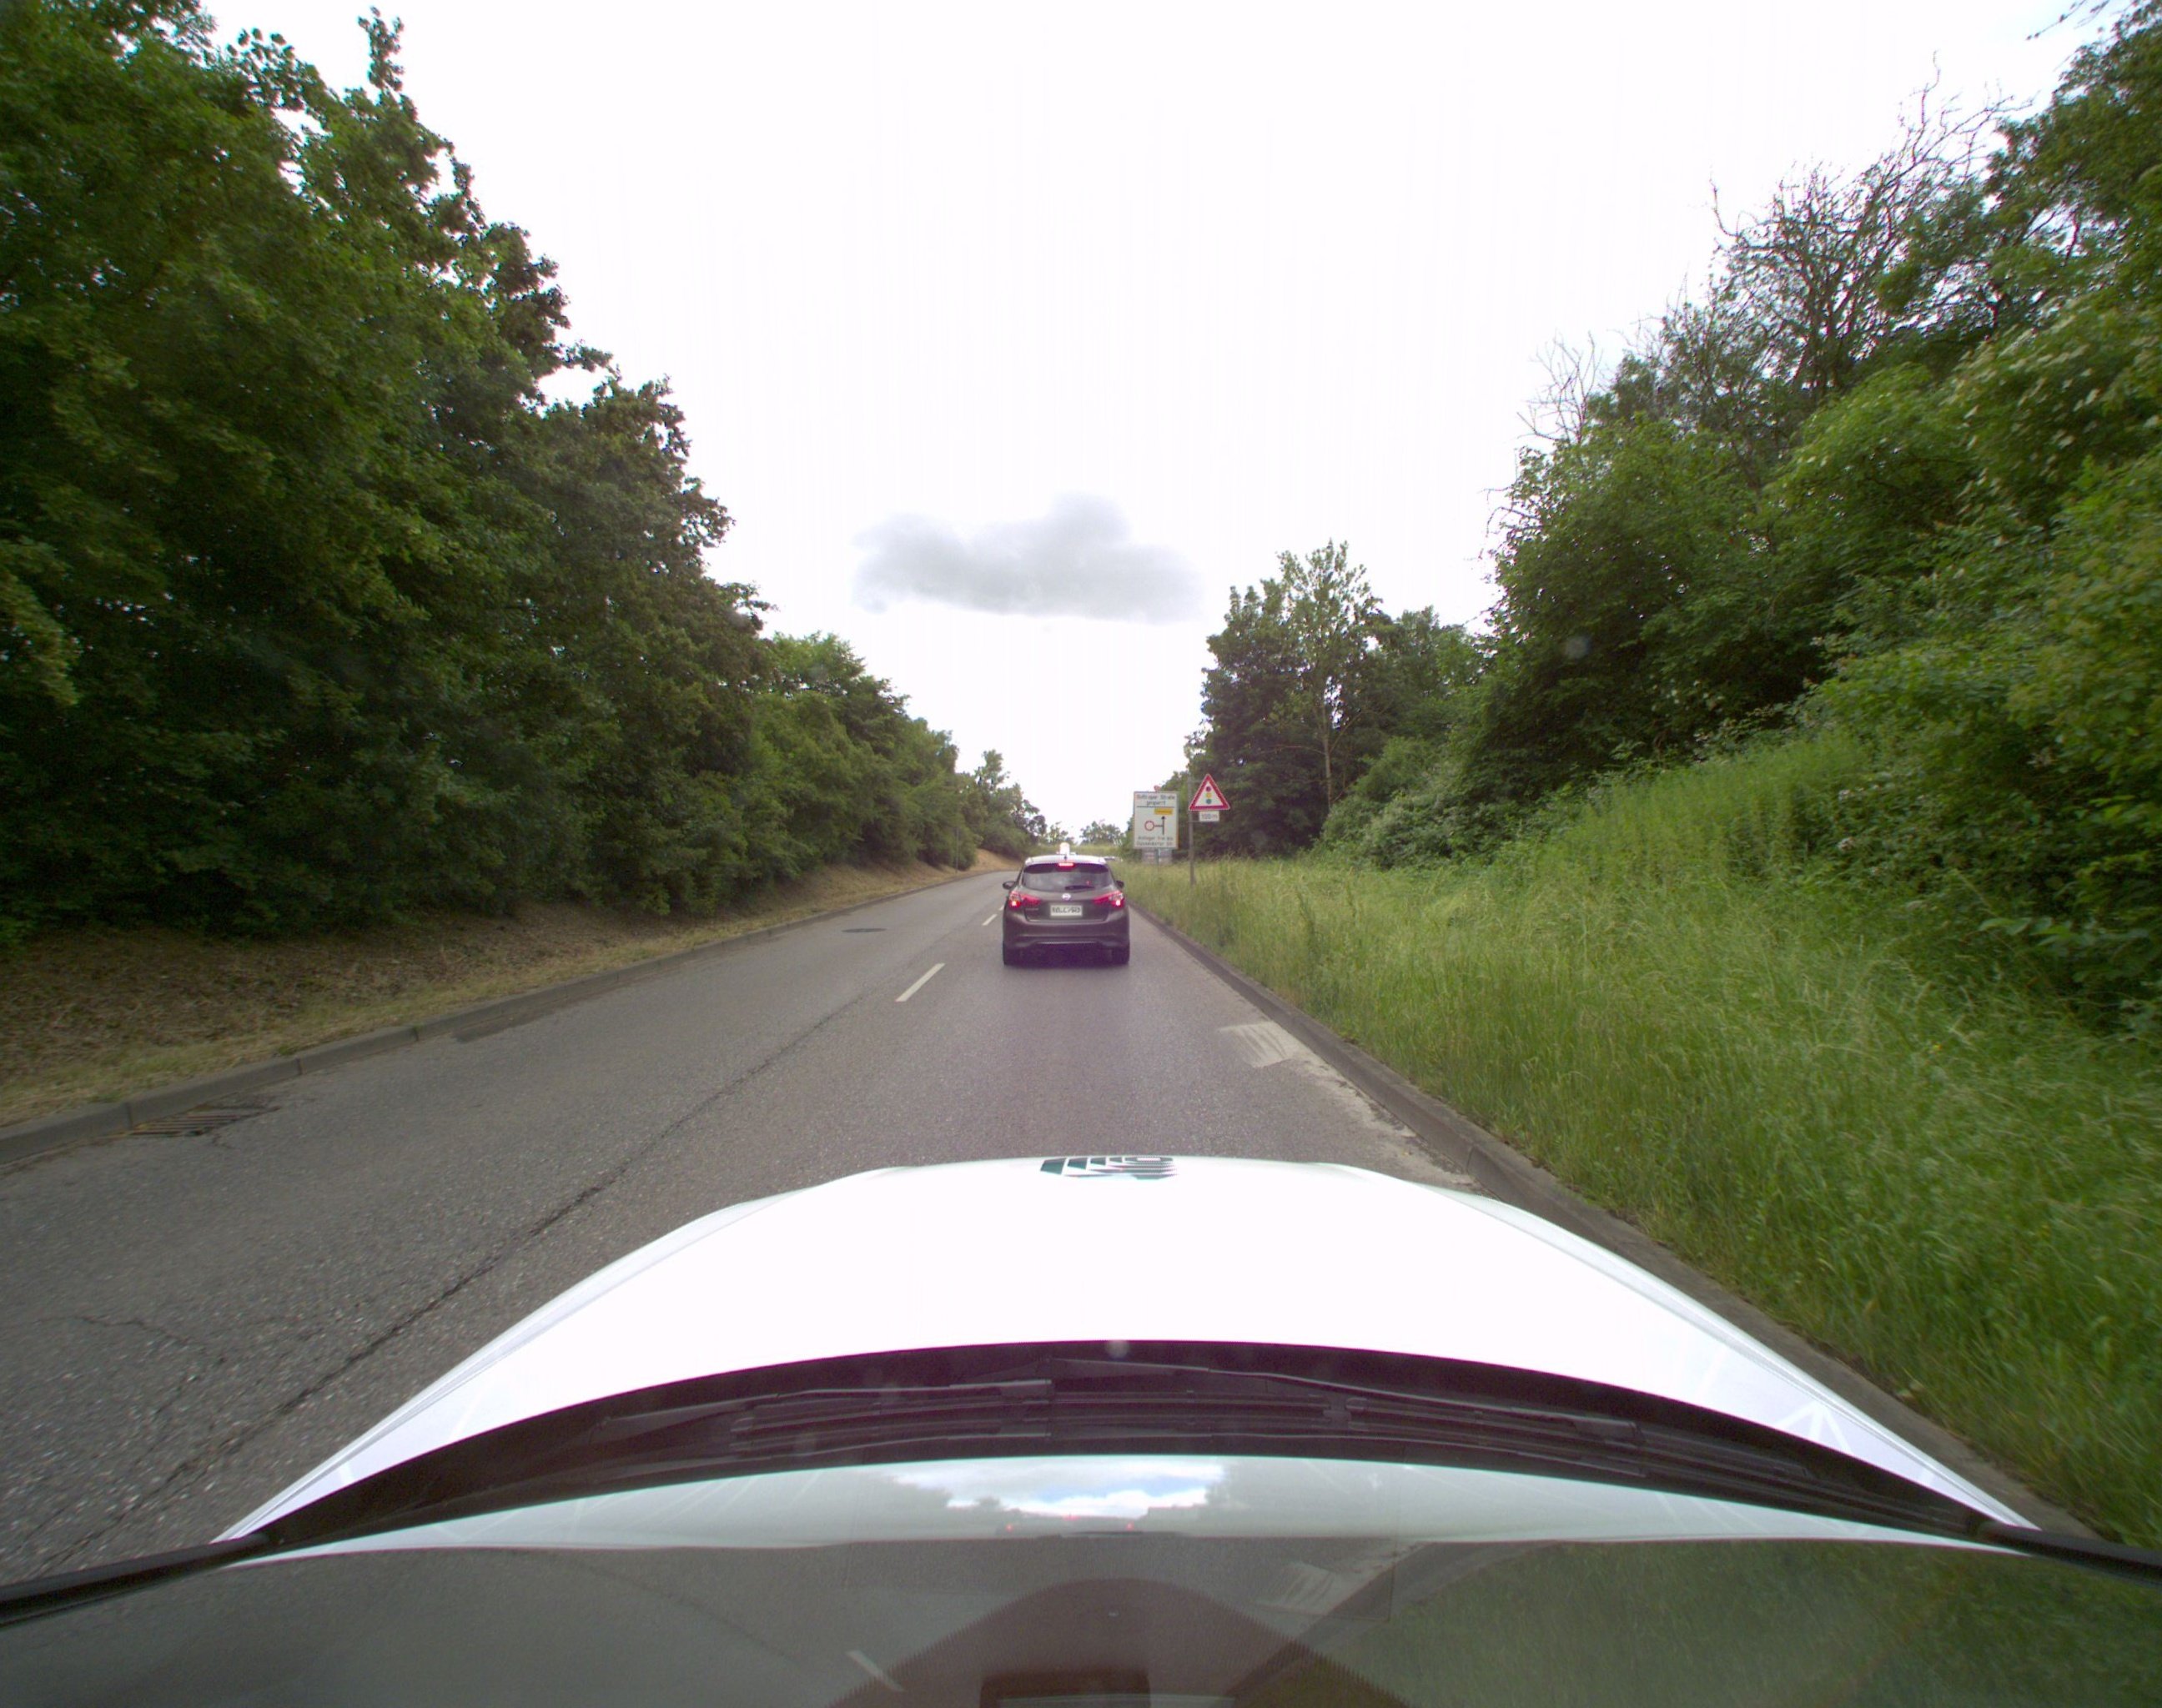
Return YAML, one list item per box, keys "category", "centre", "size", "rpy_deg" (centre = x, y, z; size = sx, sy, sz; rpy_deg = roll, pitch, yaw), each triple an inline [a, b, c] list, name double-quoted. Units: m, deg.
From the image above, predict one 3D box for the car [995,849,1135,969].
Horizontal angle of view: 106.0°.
- category: "car"
  centre: [-0.247, 0.713, 12.441]
  size: [1.825, 1.556, 3.497]
  rpy_deg: [0, 0, -2]

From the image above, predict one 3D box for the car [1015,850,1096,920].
- category: "car"
  centre: [-0.589, 0.704, 20.482]
  size: [1.824, 1.556, 3.623]
  rpy_deg: [-1, 0, 0]

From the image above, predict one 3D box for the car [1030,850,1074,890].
- category: "car"
  centre: [-1.192, 0.640, 34.799]
  size: [1.730, 1.556, 3.542]
  rpy_deg: [-1, 0, 0]

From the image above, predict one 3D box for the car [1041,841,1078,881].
- category: "car"
  centre: [-1.070, 0.364, 41.903]
  size: [1.730, 1.935, 3.543]
  rpy_deg: [-1, 0, 0]

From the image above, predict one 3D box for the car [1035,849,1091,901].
- category: "car"
  centre: [-0.566, 0.653, 27.194]
  size: [1.730, 1.556, 3.542]
  rpy_deg: [-1, 0, 0]

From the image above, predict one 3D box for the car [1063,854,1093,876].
- category: "car"
  centre: [-0.188, 0.807, 61.411]
  size: [1.726, 1.526, 3.649]
  rpy_deg: [-1, 0, 7]
